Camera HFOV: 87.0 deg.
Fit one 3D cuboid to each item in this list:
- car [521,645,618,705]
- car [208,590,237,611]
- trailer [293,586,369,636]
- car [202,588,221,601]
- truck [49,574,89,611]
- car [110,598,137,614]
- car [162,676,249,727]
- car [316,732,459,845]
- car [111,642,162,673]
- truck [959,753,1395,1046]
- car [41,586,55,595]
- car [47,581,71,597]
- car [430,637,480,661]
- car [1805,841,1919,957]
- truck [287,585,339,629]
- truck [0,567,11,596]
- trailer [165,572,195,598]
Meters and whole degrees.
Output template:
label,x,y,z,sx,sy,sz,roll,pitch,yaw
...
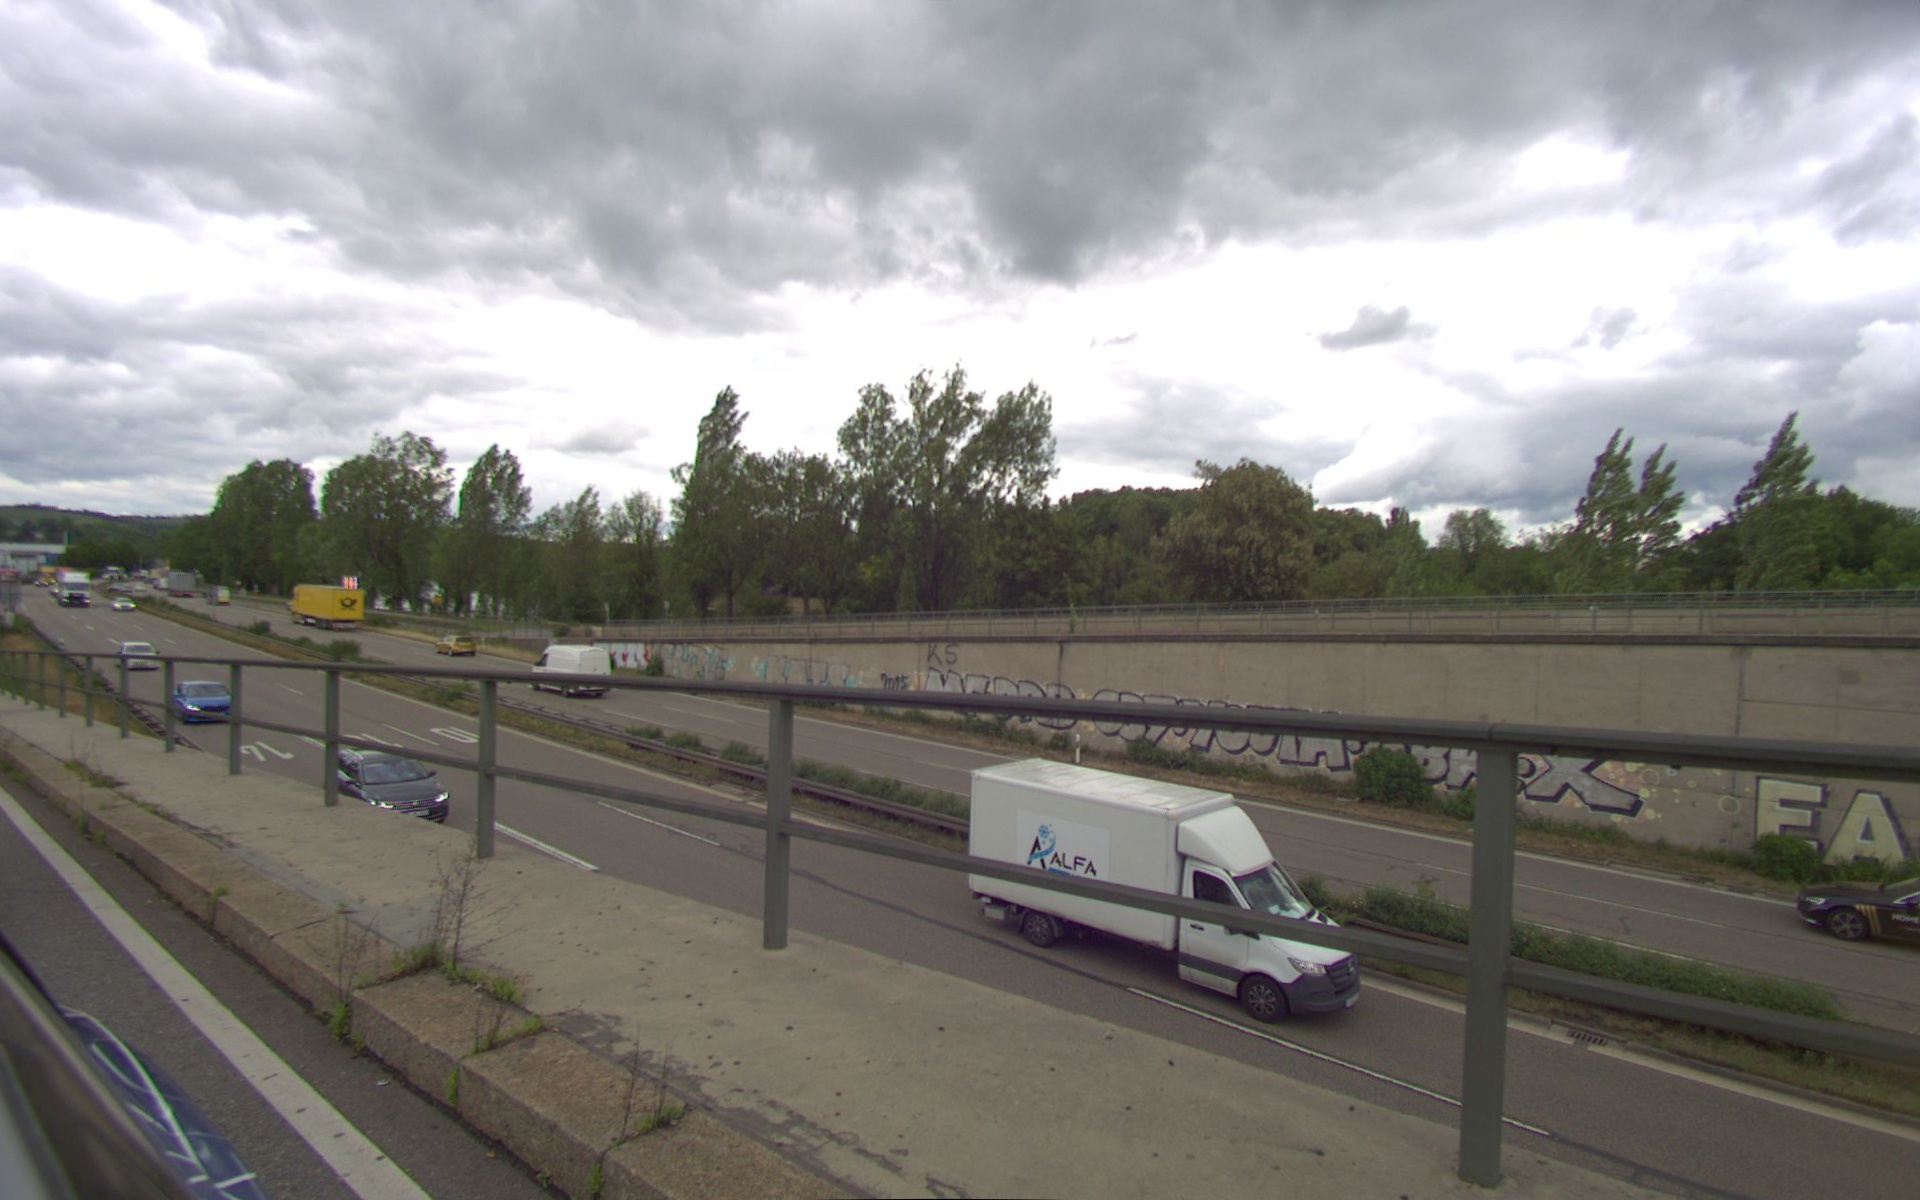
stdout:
label,x,y,z,sx,sy,sz,roll,pitch,yaw
car,-20.634,3.861,53.359,6.101,2.613,2.144,2,0,42
car,-104.414,0.060,143.321,6.715,2.648,1.972,2,-1,43
trailer,-60.950,0.950,97.859,3.203,4.294,13.691,2,0,-44
car,-130.115,-0.951,175.959,1.970,1.914,4.587,6,-3,-44
truck,-106.464,-0.880,120.892,5.877,4.140,2.969,2,0,44
car,-96.087,0.649,116.233,4.439,1.582,1.830,3,2,43
car,-30.199,4.013,40.480,3.999,1.544,1.973,2,-1,41
car,-14.456,4.635,25.465,4.001,2.029,1.971,2,-1,43
car,-46.554,3.233,57.195,3.337,1.539,1.745,2,0,43
truck,3.436,4.753,17.635,7.229,3.031,2.210,2,1,41
car,-150.030,-1.562,166.483,3.538,1.383,1.492,3,0,43
car,-136.830,-1.650,153.629,6.502,2.259,2.076,3,0,43
car,-36.994,3.581,74.106,4.152,1.468,1.848,2,0,41
car,19.876,6.201,20.142,4.632,1.664,1.840,2,0,41
truck,-65.805,0.729,102.865,3.203,4.213,5.808,2,0,-45
truck,-146.801,-2.848,154.154,3.059,4.040,8.497,1,2,-45
trailer,-136.745,-2.690,177.321,2.754,4.170,13.778,1,1,-43
